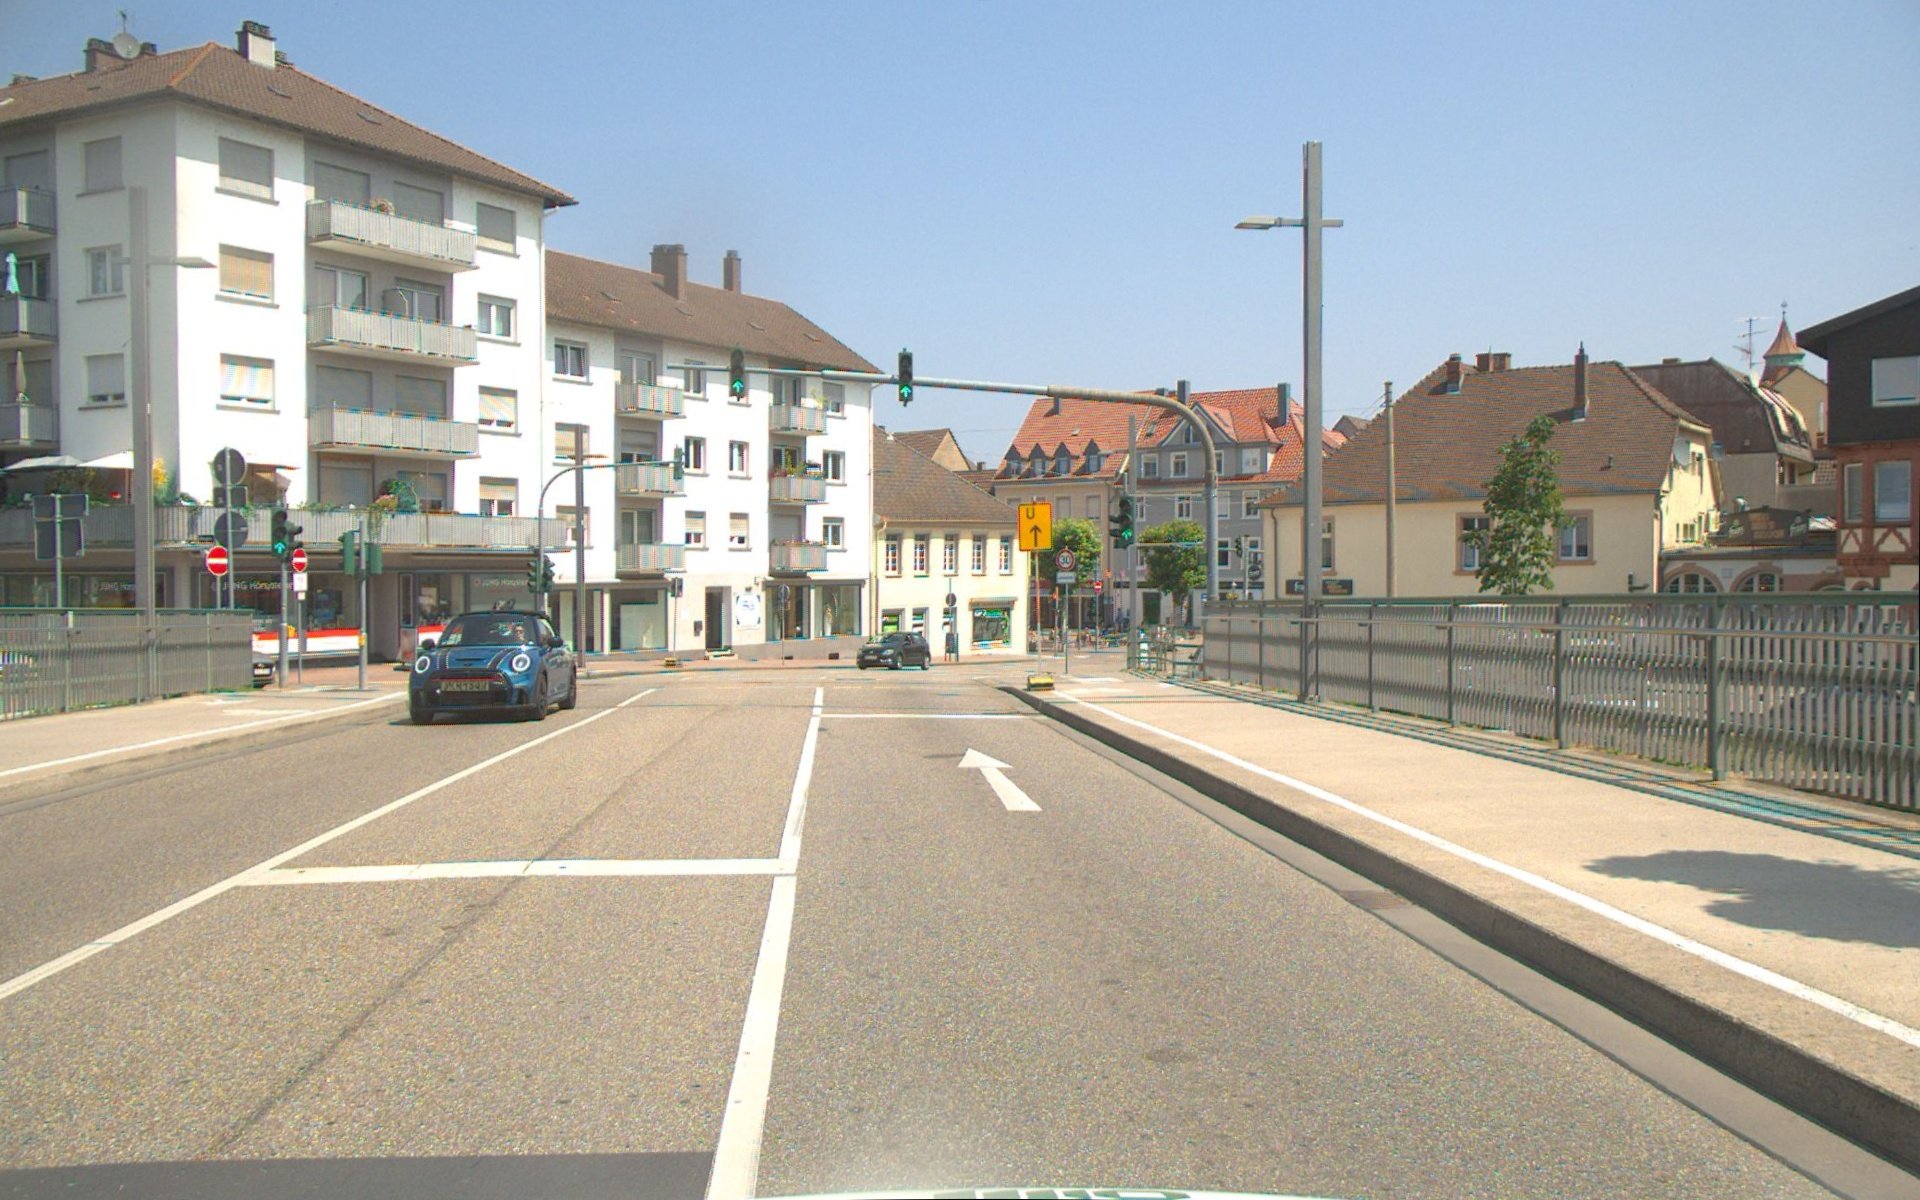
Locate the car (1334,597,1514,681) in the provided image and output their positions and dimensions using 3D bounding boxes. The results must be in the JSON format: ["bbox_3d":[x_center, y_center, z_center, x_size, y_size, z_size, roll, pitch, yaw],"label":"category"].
[{"bbox_3d":[15.720,1.262,56.149,5.510,2.674,2.238,0,0,30],"label":"car"}]

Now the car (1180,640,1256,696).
[{"bbox_3d":[7.487,1.958,48.332,1.715,1.497,4.254,1,-1,3],"label":"car"}]

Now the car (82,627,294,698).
[{"bbox_3d":[-17.739,1.431,38.056,4.277,1.445,1.704,-2,0,14],"label":"car"}]

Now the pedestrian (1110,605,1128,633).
[{"bbox_3d":[11.945,1.422,124.463,1.012,2.015,1.018,1,0,31],"label":"pedestrian"}]

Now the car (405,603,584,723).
[{"bbox_3d":[-6.288,0.806,22.716,1.624,1.465,3.752,-2,0,-4],"label":"car"}]

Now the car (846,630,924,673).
[{"bbox_3d":[-2.775,1.907,62.057,1.641,1.514,3.956,-3,-2,18],"label":"car"}]

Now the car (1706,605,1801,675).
[{"bbox_3d":[24.785,1.206,51.611,1.632,2.049,3.976,1,1,42],"label":"car"}]

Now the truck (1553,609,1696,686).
[{"bbox_3d":[21.133,1.480,52.601,3.982,2.253,1.810,1,1,31],"label":"truck"}]
